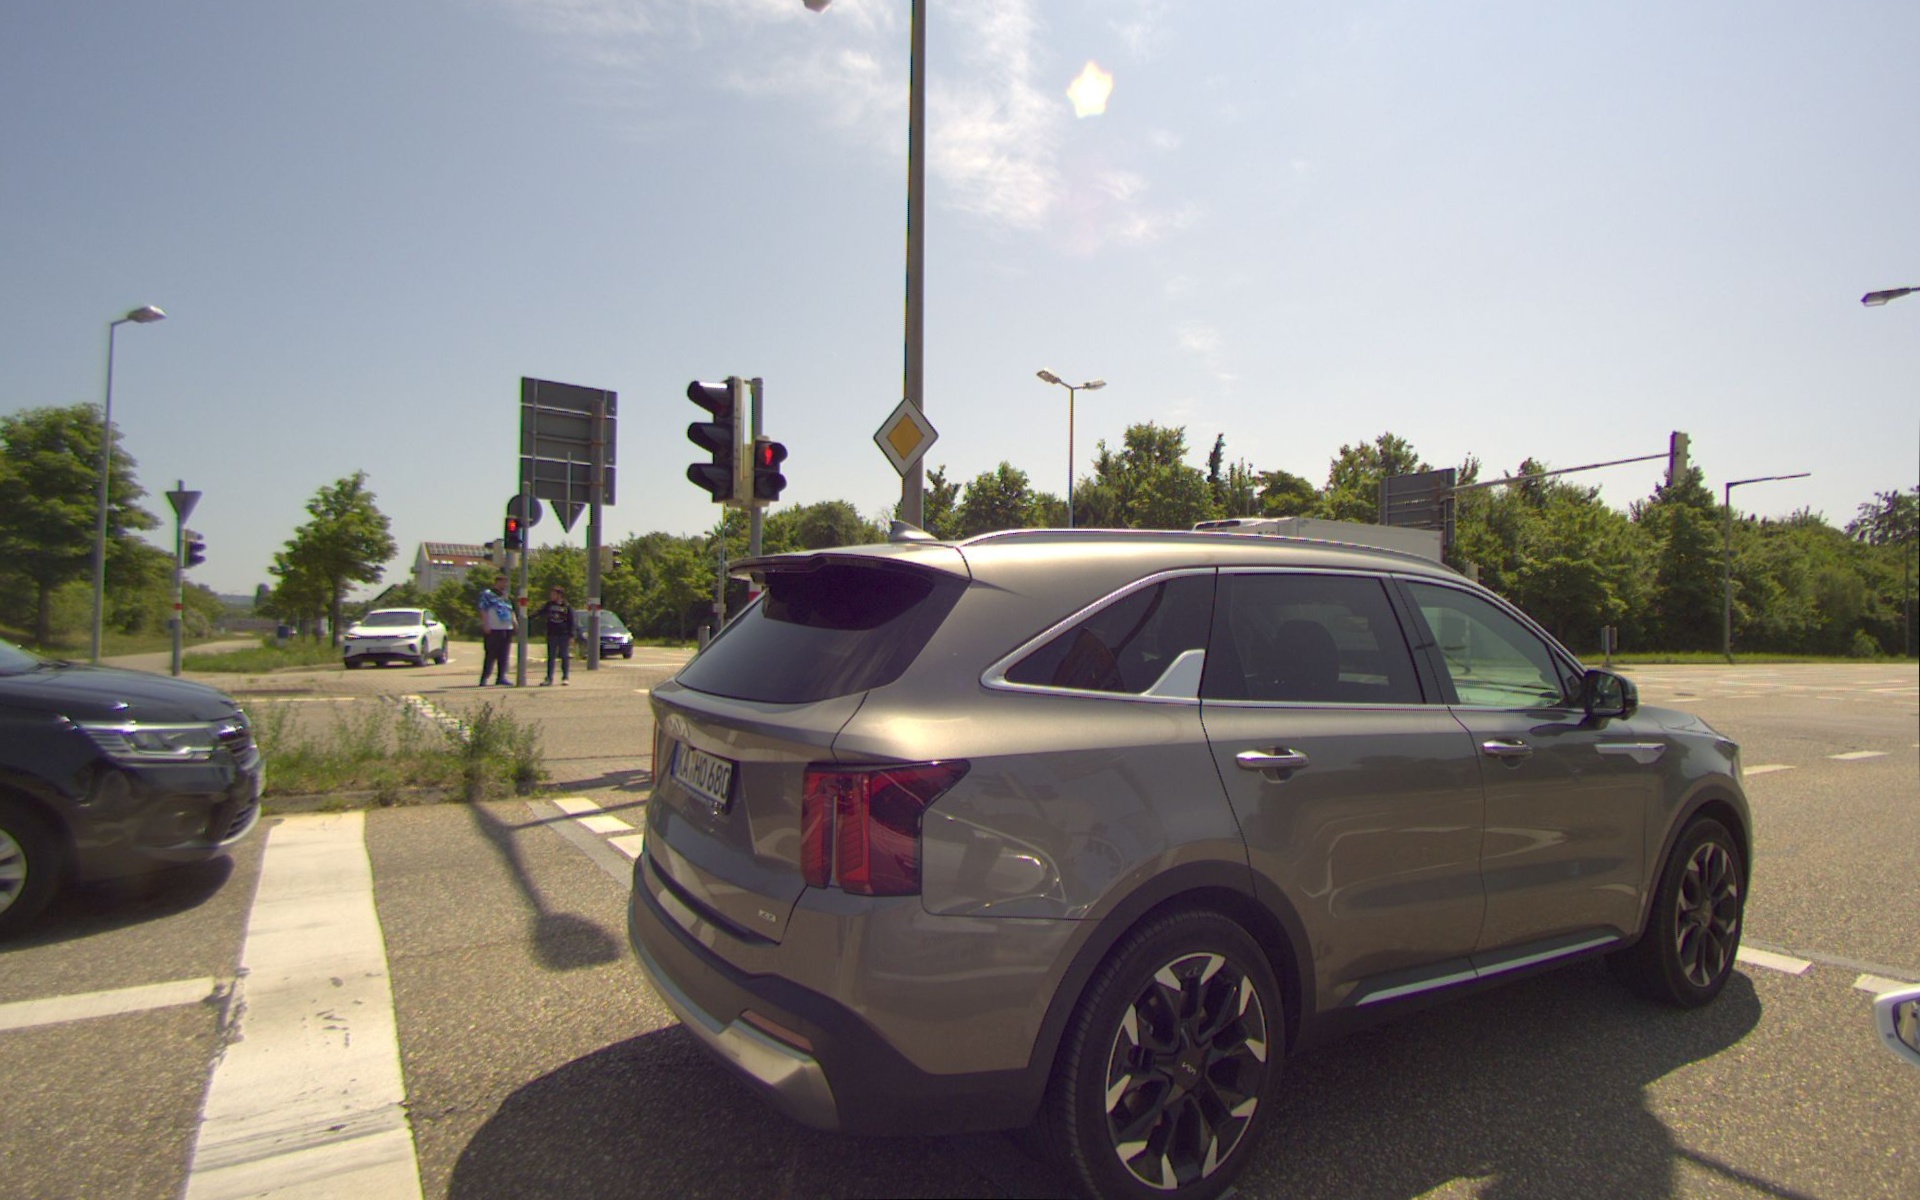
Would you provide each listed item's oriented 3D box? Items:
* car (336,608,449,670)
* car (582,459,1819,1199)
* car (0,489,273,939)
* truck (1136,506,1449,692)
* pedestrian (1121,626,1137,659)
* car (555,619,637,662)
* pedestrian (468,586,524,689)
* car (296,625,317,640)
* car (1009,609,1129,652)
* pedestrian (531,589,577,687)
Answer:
[{"bbox_3d":[-15.544,1.078,27.746,1.849,1.521,4.294,-2,-2,-18],"label":"car"},{"bbox_3d":[1.172,0.669,3.771,4.591,1.684,1.795,2,-2,-31],"label":"car"},{"bbox_3d":[-5.537,0.442,4.172,4.272,1.850,1.722,2,-1,-31],"label":"car"},{"bbox_3d":[7.568,0.076,22.506,7.186,3.618,2.673,2,-1,-32],"label":"truck"},{"bbox_3d":[8.451,2.108,50.320,0.606,1.624,0.798,0,-1,23],"label":"pedestrian"},{"bbox_3d":[-12.218,1.329,33.615,1.685,1.353,3.963,2,-2,-34],"label":"car"},{"bbox_3d":[-8.177,0.648,17.698,0.780,1.759,0.581,0,-1,37],"label":"pedestrian"},{"bbox_3d":[-61.458,3.076,94.446,1.616,1.379,3.963,2,-2,-33],"label":"car"},{"bbox_3d":[4.721,1.298,43.558,4.833,1.754,1.827,0,-1,25],"label":"car"},{"bbox_3d":[-7.305,0.674,18.092,0.714,1.722,0.771,1,-1,-22],"label":"pedestrian"}]
